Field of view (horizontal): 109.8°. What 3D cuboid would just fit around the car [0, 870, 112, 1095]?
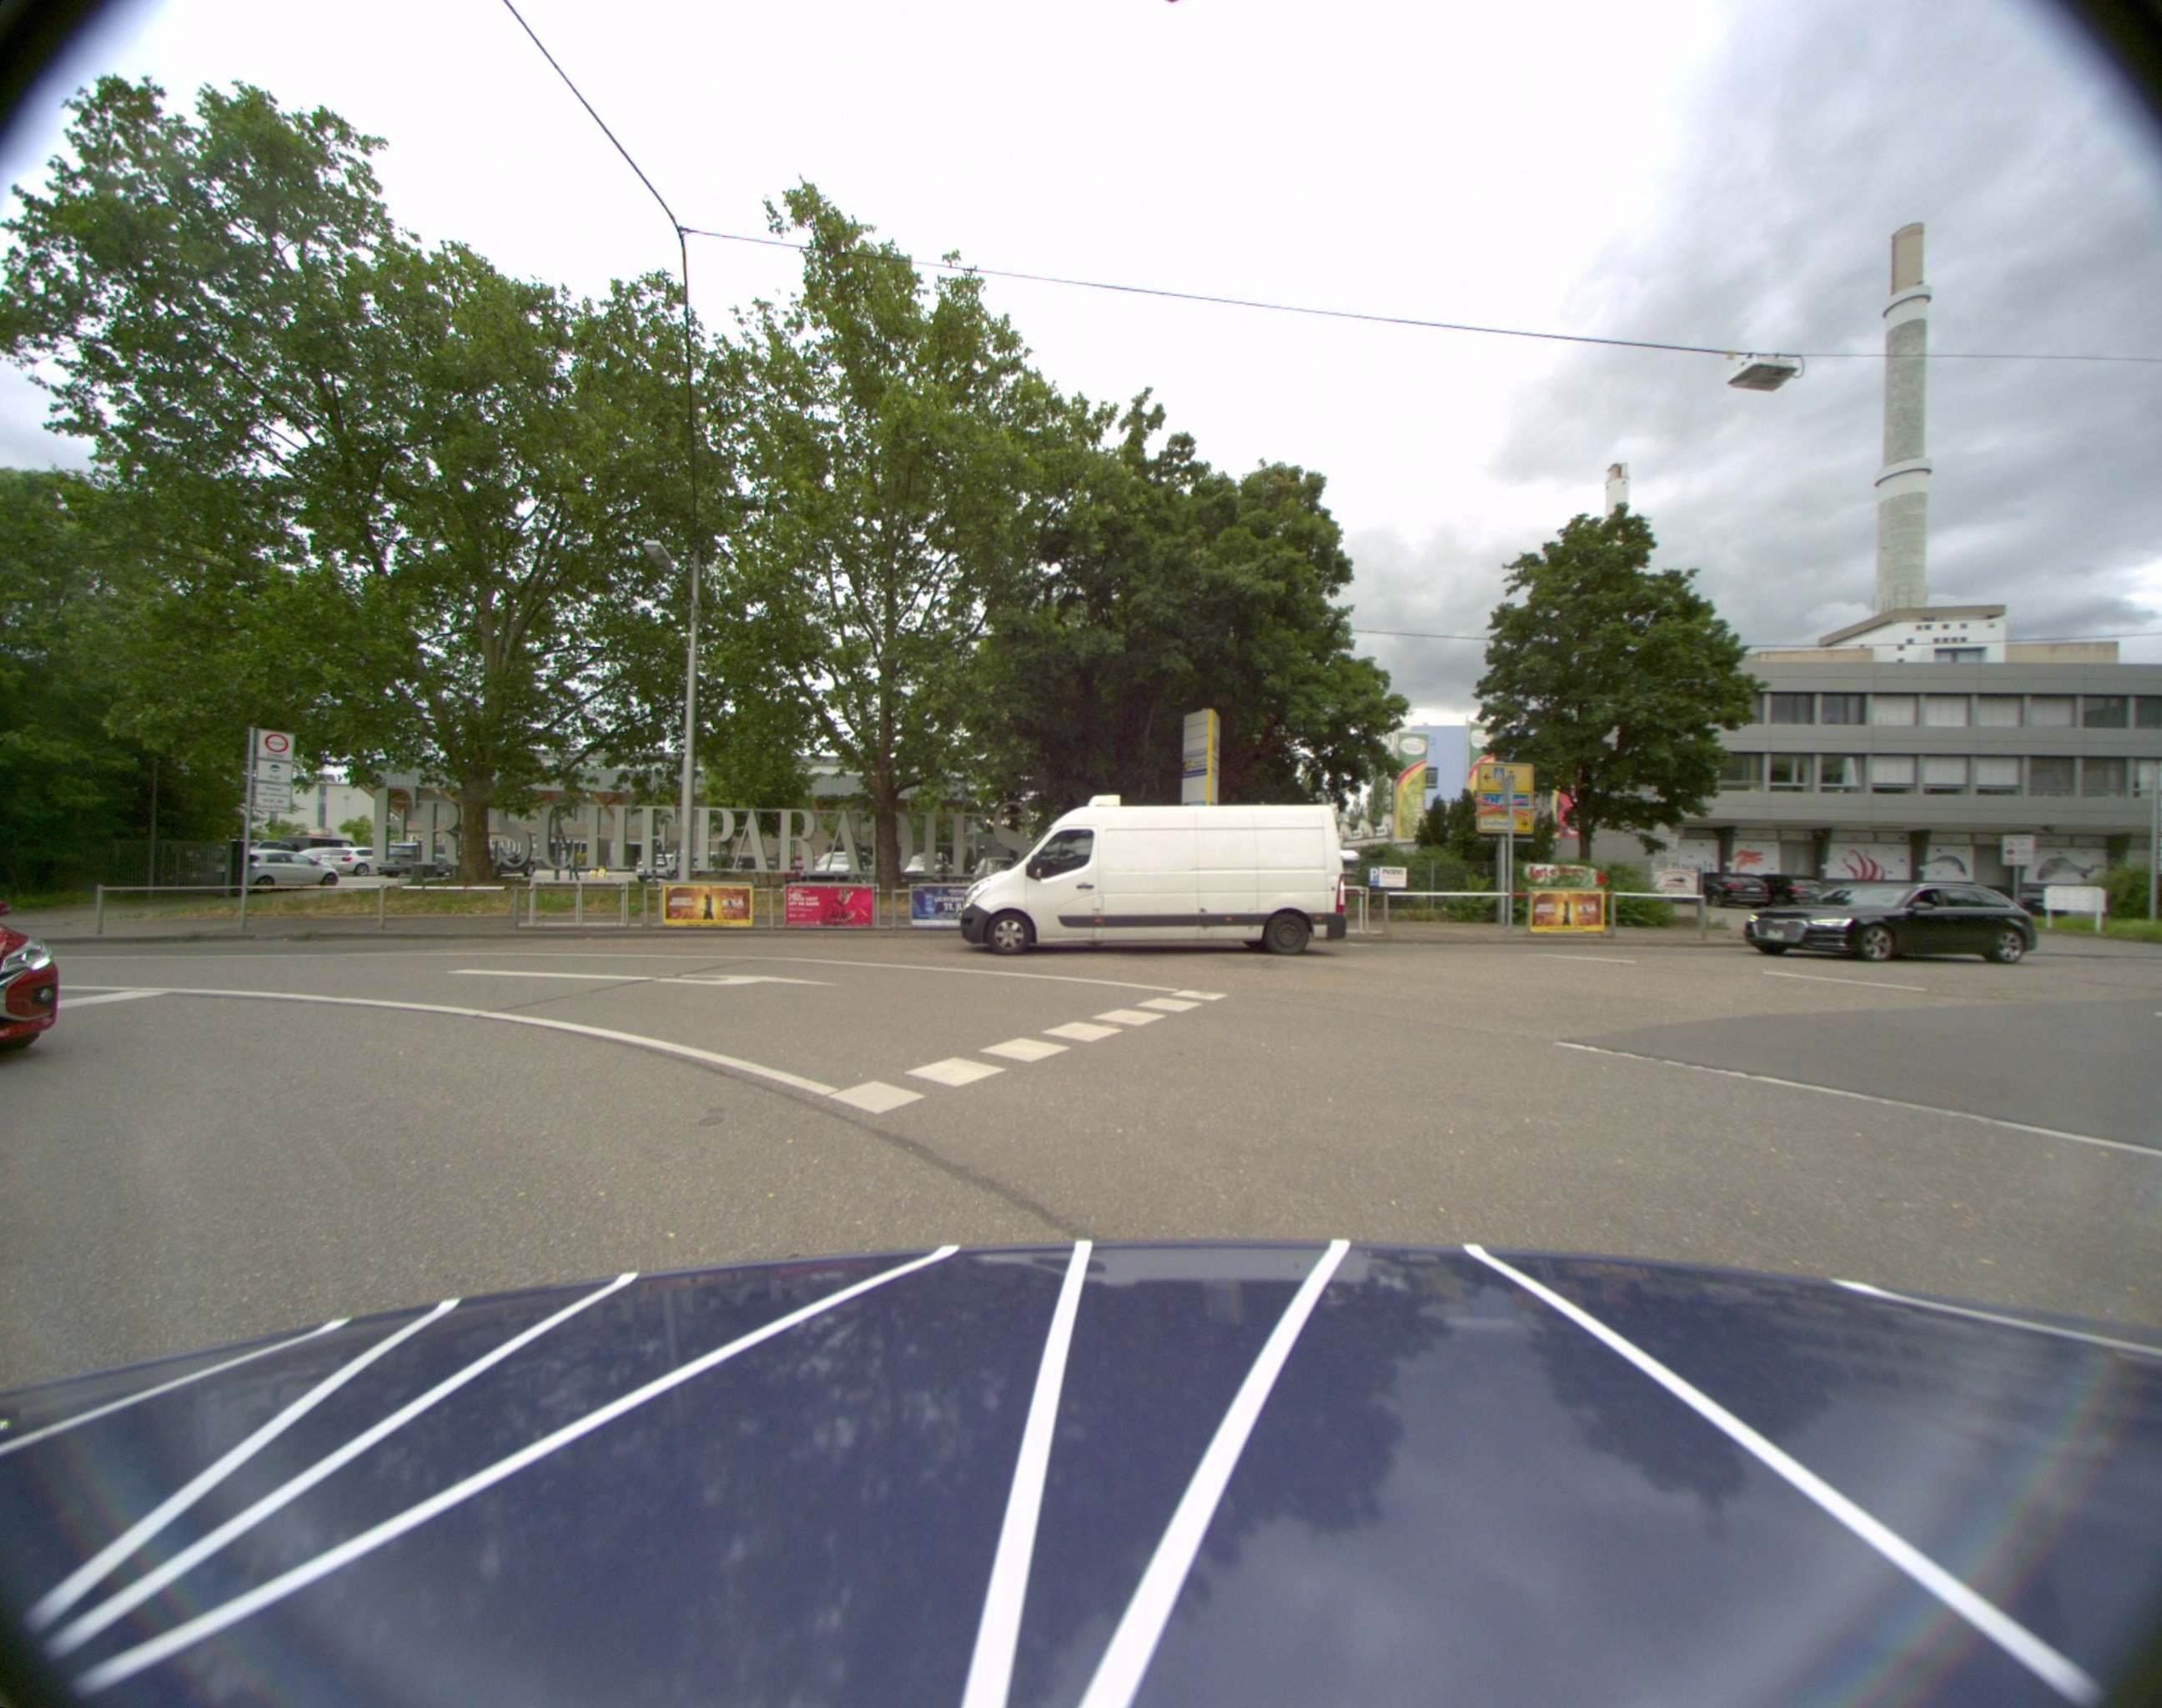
[{"bbox_3d":[-9.088,0.844,5.056,3.828,1.457,1.735,1,1,12],"label":"car"}]

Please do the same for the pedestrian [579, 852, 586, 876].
[{"bbox_3d":[-37.881,0.761,57.702,0.342,1.754,0.437,2,-2,-23],"label":"pedestrian"}]

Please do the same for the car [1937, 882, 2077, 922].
[{"bbox_3d":[42.532,2.135,35.086,2.045,1.437,4.836,1,1,23],"label":"car"}]

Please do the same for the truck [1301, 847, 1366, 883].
[{"bbox_3d":[29.877,1.364,90.995,2.849,3.909,15.733,2,-1,2],"label":"truck"}]

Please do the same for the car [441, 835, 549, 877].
[{"bbox_3d":[-30.252,0.148,39.461,1.999,2.001,4.641,1,-1,-1],"label":"car"}]

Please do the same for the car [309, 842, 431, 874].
[{"bbox_3d":[-36.921,0.252,39.664,1.999,1.549,4.641,1,-1,-1],"label":"car"}]

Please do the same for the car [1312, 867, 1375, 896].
[{"bbox_3d":[12.334,1.283,35.875,1.708,1.241,3.702,2,-1,1],"label":"car"}]

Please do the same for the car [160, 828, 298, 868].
[{"bbox_3d":[-45.974,-0.278,41.185,1.999,2.001,4.824,1,-1,-1],"label":"car"}]

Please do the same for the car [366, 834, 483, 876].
[{"bbox_3d":[-33.641,0.108,39.163,1.999,2.001,4.641,1,-1,-1],"label":"car"}]

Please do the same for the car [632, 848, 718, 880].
[{"bbox_3d":[-21.116,0.532,39.725,1.999,1.552,4.641,1,-1,-1],"label":"car"}]

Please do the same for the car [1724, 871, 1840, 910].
[{"bbox_3d":[34.479,1.755,37.568,1.837,1.608,4.425,2,0,5],"label":"car"}]

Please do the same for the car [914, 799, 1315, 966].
[{"bbox_3d":[0.512,0.475,12.811,6.097,2.444,2.390,1,-1,-2],"label":"car"}]

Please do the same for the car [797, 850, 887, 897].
[{"bbox_3d":[-8.976,0.743,28.925,1.883,1.603,4.527,1,-2,1],"label":"car"}]

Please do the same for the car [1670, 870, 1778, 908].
[{"bbox_3d":[31.644,1.669,37.573,1.836,1.608,4.467,2,0,6],"label":"car"}]

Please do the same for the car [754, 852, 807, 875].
[{"bbox_3d":[-21.854,0.734,55.451,1.999,1.552,4.641,1,-1,-1],"label":"car"}]

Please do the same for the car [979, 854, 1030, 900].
[{"bbox_3d":[-2.830,0.865,28.758,1.591,1.603,4.001,1,-2,-1],"label":"car"}]

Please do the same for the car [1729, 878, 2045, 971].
[{"bbox_3d":[14.642,1.250,13.893,4.442,1.503,1.864,1,-1,-11],"label":"car"}]

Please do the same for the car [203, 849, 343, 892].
[{"bbox_3d":[-30.567,0.622,28.911,1.481,1.495,3.729,1,-1,-4],"label":"car"}]

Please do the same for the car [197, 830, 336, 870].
[{"bbox_3d":[-43.499,-0.150,40.798,1.999,1.986,5.103,1,-1,-1],"label":"car"}]

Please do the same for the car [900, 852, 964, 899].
[{"bbox_3d":[-5.535,0.812,28.704,1.591,1.603,4.318,1,-2,-1],"label":"car"}]

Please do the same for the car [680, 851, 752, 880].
[{"bbox_3d":[-21.286,0.669,44.574,1.999,1.552,4.641,1,-1,-1],"label":"car"}]

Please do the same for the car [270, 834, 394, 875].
[{"bbox_3d":[-39.694,0.056,40.480,1.999,2.001,4.641,1,-1,-1],"label":"car"}]
